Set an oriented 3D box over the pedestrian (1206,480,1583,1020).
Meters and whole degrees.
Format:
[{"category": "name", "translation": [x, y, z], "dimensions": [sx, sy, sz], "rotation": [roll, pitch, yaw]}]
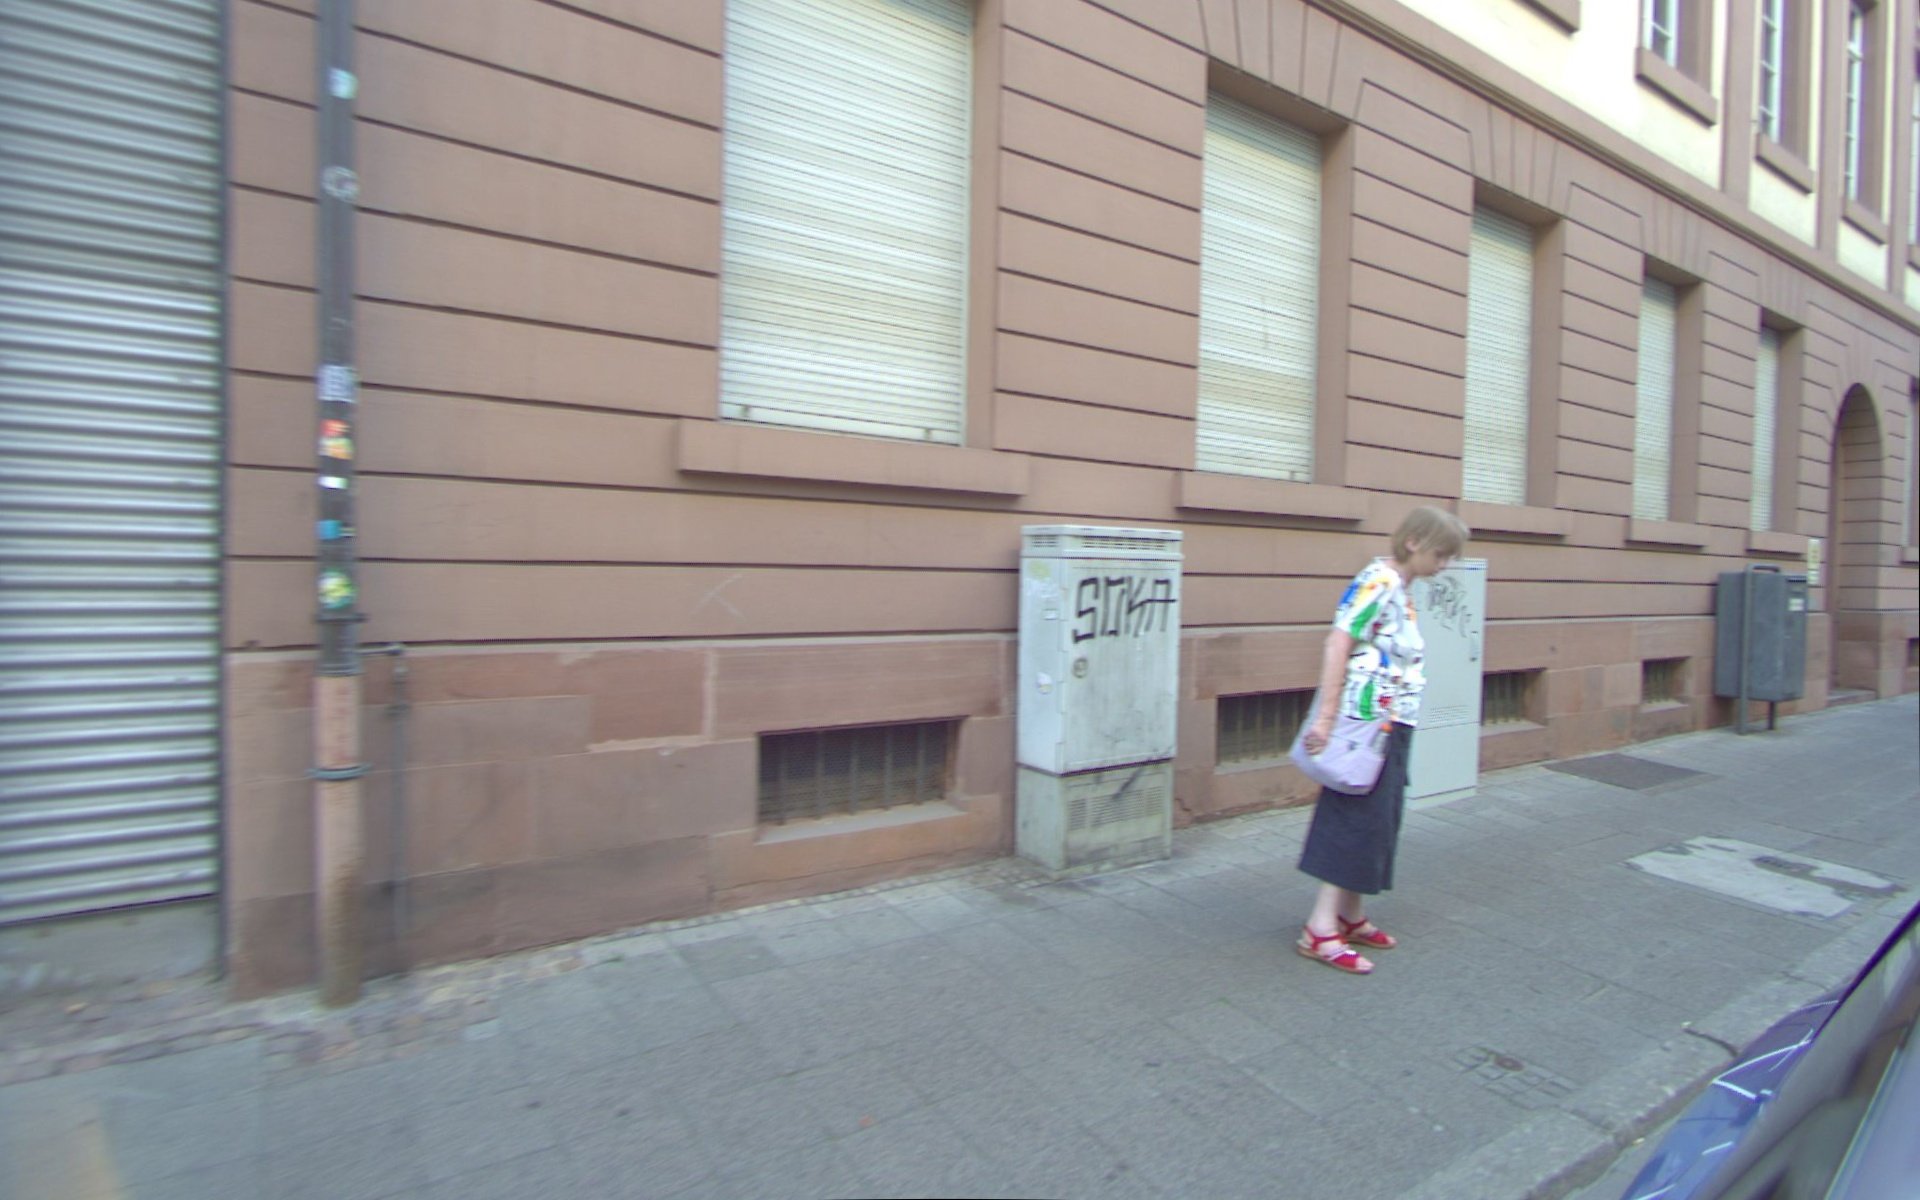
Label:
[{"category": "pedestrian", "translation": [1.559, 0.450, 3.745], "dimensions": [0.795, 1.691, 0.932], "rotation": [0, 2, -26]}]
